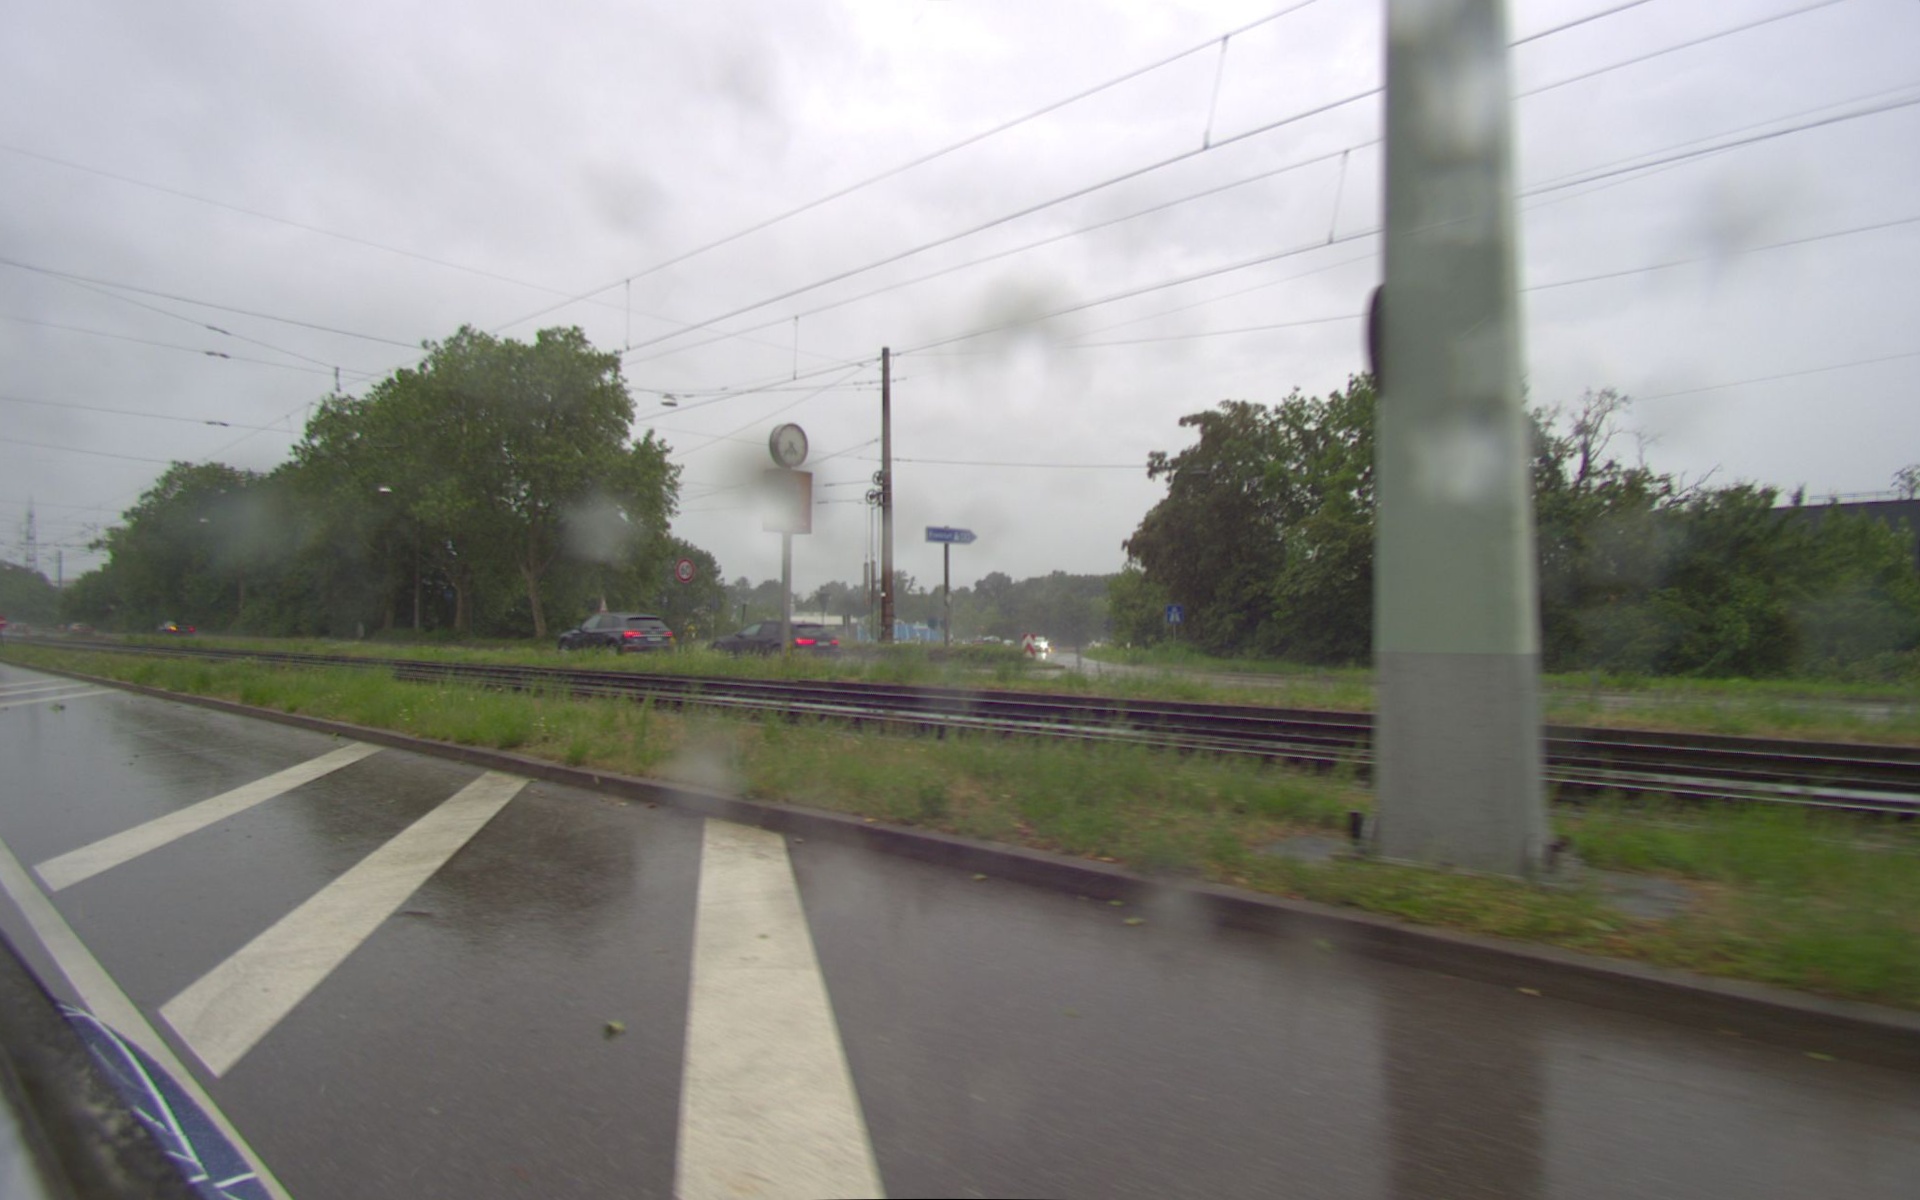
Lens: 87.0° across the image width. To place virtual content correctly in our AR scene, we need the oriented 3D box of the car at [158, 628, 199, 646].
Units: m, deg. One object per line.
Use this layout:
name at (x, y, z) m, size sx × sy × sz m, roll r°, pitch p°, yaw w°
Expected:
car at (-70.750, 3.316, 91.599) m, size 4.277 × 1.540 × 2.189 m, roll -1°, pitch -1°, yaw 41°

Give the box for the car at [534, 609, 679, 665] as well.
car at (-11.136, 1.142, 31.717) m, size 4.981 × 1.628 × 1.925 m, roll -2°, pitch -1°, yaw 38°

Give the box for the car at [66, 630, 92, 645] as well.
car at (-98.260, 4.141, 112.820) m, size 4.044 × 1.580 × 1.634 m, roll -1°, pitch -1°, yaw 40°

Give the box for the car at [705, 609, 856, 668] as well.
car at (-5.607, 1.172, 31.320) m, size 4.774 × 1.699 × 1.924 m, roll -2°, pitch -1°, yaw 38°
